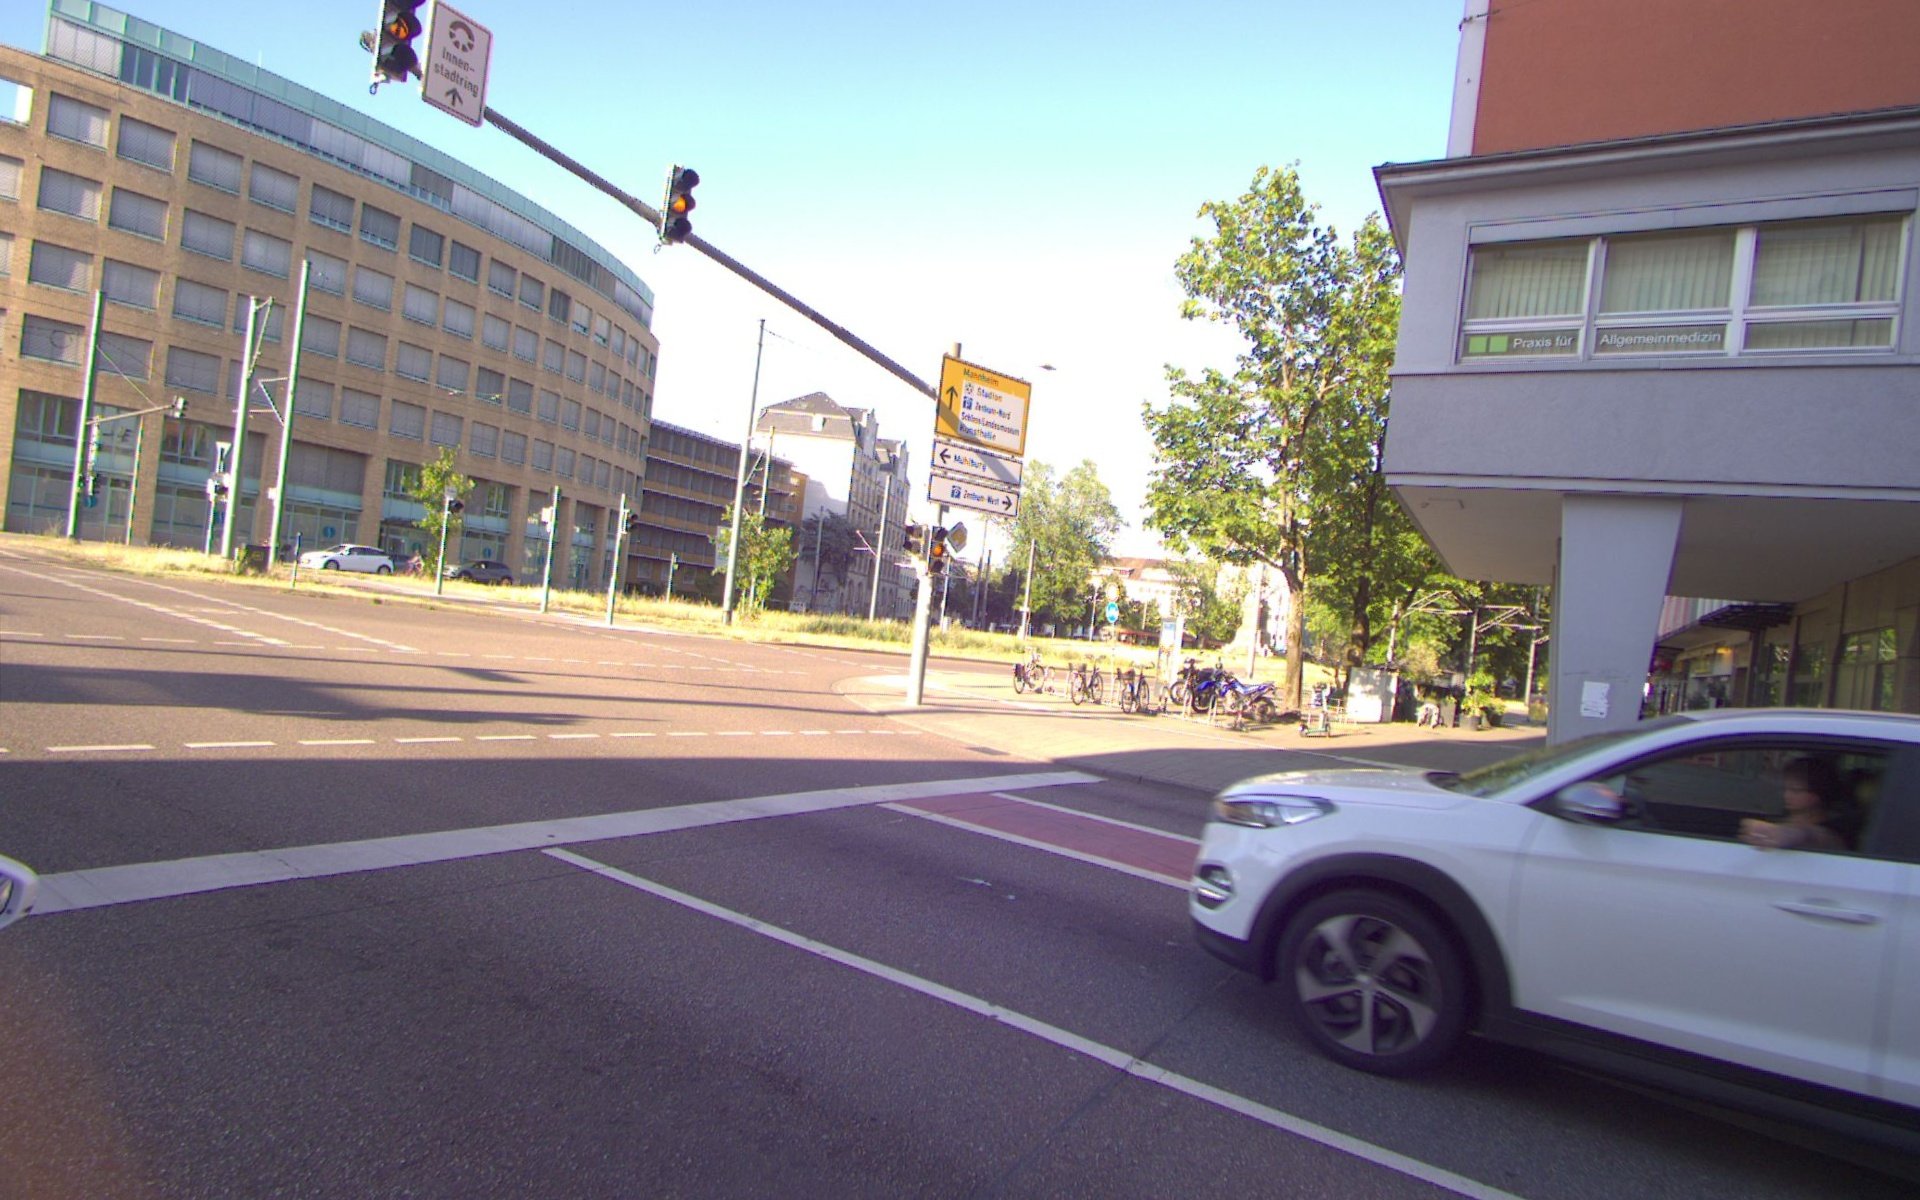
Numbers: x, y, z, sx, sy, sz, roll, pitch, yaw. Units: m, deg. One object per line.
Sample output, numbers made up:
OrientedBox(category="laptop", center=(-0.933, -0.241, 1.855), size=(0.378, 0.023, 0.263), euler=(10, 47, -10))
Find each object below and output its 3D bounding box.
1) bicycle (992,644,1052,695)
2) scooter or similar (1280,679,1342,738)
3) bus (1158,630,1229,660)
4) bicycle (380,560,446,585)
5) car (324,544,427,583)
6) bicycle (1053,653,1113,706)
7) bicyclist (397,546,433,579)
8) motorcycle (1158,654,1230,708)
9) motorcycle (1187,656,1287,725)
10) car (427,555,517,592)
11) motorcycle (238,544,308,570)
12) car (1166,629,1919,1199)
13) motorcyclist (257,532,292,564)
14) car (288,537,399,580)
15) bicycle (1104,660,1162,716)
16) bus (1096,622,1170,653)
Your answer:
OrientedBox(category="bicycle", center=(1.531, 1.678, 24.519), size=(0.584, 1.129, 1.974), euler=(7, 1, 29))
OrientedBox(category="scooter or similar", center=(7.888, 2.443, 22.588), size=(1.549, 1.251, 0.479), euler=(6, 1, -40))
OrientedBox(category="bus", center=(34.319, 6.640, 147.844), size=(10.942, 3.248, 2.339), euler=(7, -1, -26))
OrientedBox(category="bicycle", center=(-29.951, -1.495, 55.112), size=(1.134, 1.012, 2.966), euler=(6, -1, 29))
OrientedBox(category="car", center=(-32.519, -2.003, 56.093), size=(1.953, 1.555, 4.488), euler=(6, -1, 32))
OrientedBox(category="bicycle", center=(2.921, 1.855, 23.695), size=(0.584, 1.129, 2.003), euler=(7, 1, 29))
OrientedBox(category="bicyclist", center=(-29.866, -2.062, 55.151), size=(1.134, 1.591, 1.225), euler=(6, 0, 30))
OrientedBox(category="motorcycle", center=(6.491, 2.260, 27.856), size=(2.044, 1.324, 0.880), euler=(7, -1, -44))
OrientedBox(category="motorcycle", center=(6.897, 2.238, 25.055), size=(2.224, 1.409, 0.844), euler=(7, -1, 19))
OrientedBox(category="car", center=(-26.997, -1.469, 55.770), size=(1.790, 1.509, 4.058), euler=(6, -1, 30))
OrientedBox(category="motorcycle", center=(-35.190, -2.197, 51.556), size=(1.014, 0.975, 2.722), euler=(6, -1, 30))
OrientedBox(category="car", center=(3.243, 1.222, 4.066), size=(4.198, 1.626, 1.921), euler=(6, -2, 31))
OrientedBox(category="motorcyclist", center=(-35.130, -2.679, 51.567), size=(1.014, 1.453, 1.067), euler=(6, 0, 31))
OrientedBox(category="car", center=(-30.431, -2.018, 49.792), size=(1.961, 1.509, 4.171), euler=(6, -1, 29))
OrientedBox(category="bicycle", center=(3.992, 1.992, 23.076), size=(0.583, 1.129, 2.058), euler=(7, 1, 28))
OrientedBox(category="bus", center=(24.622, 5.399, 142.908), size=(10.987, 3.248, 2.395), euler=(7, -1, -28))
